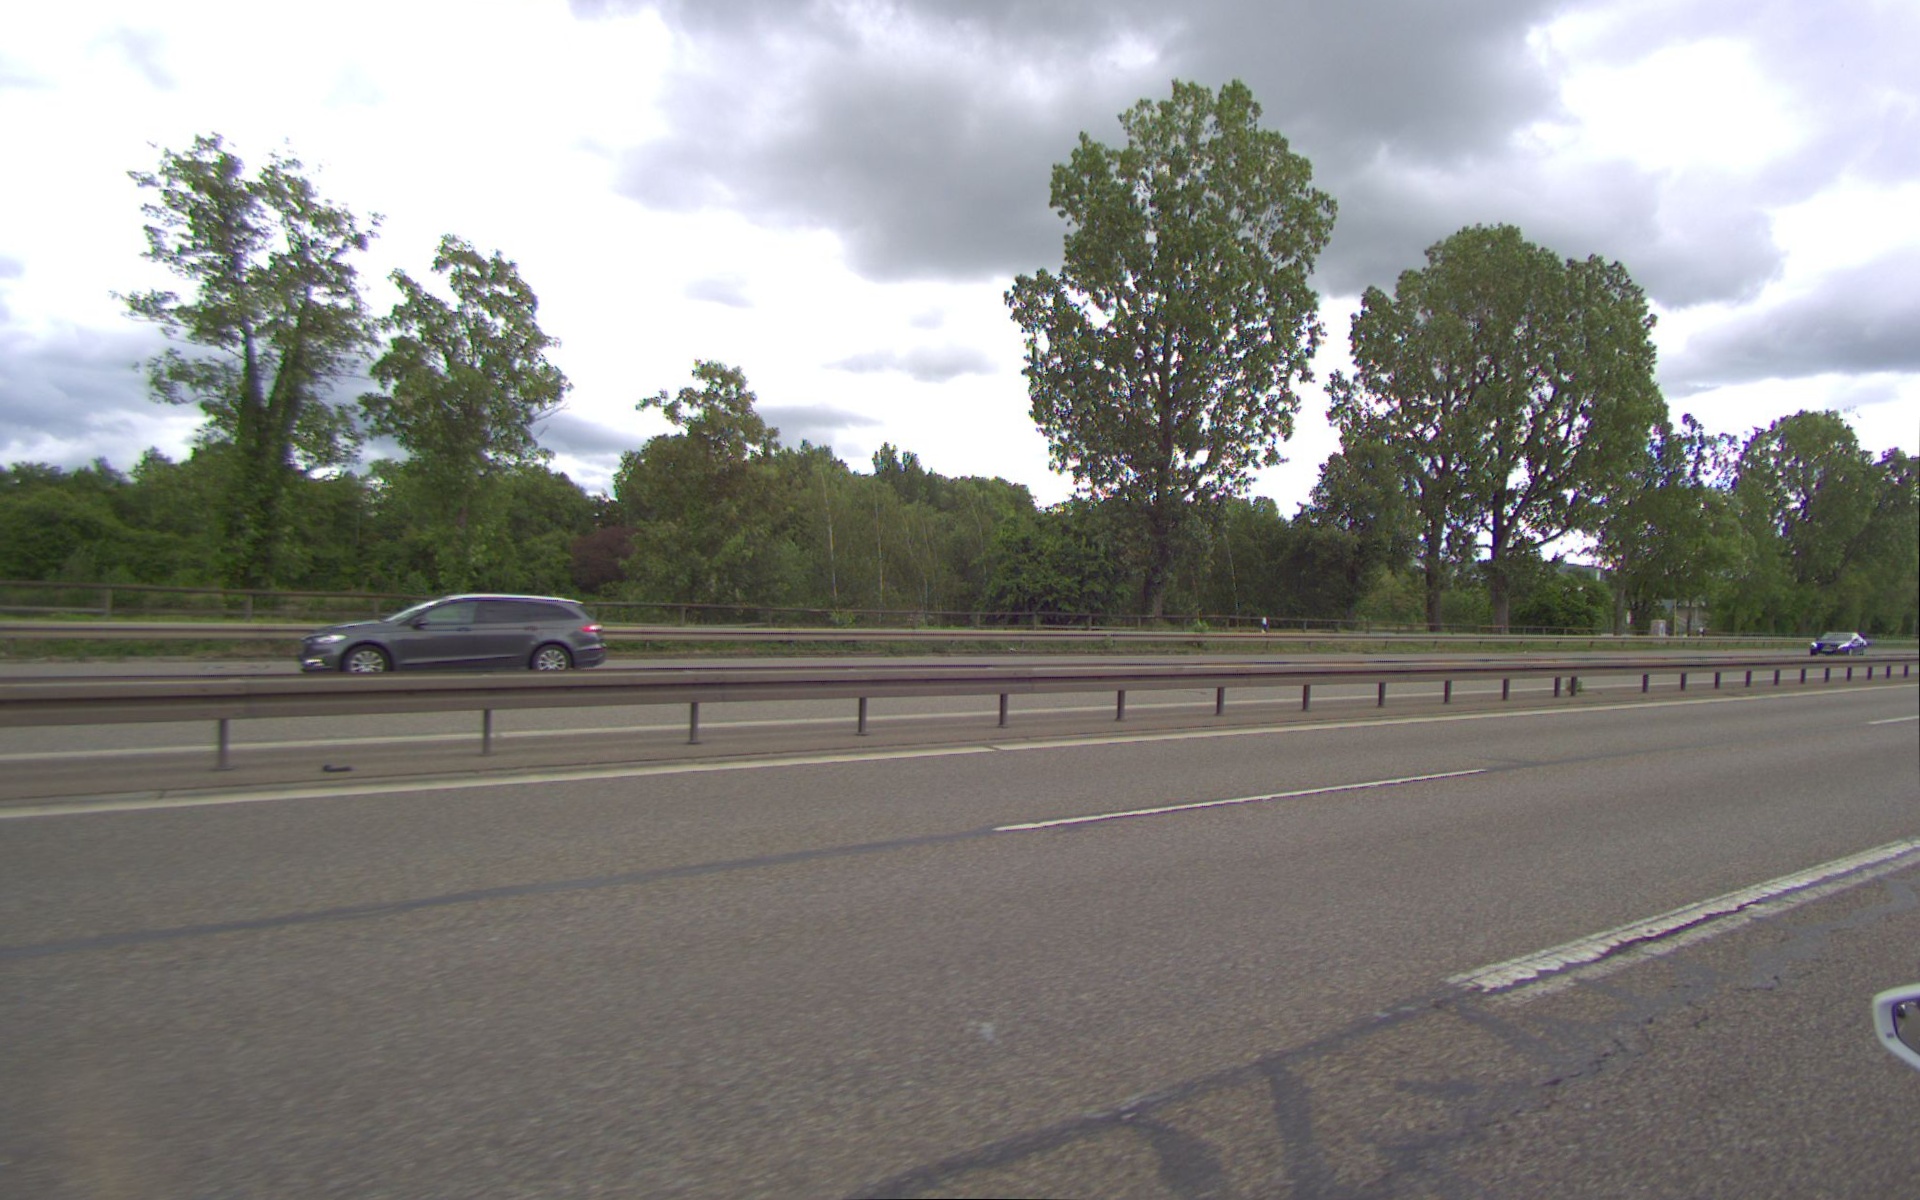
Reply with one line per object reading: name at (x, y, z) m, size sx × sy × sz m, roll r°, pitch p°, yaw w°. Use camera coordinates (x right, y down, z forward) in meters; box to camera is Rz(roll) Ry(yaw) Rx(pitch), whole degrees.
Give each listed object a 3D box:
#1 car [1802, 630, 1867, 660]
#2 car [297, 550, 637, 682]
car at (51.111, 2.615, 58.671) m, size 4.606 × 1.630 × 1.979 m, roll 1°, pitch -1°, yaw -37°
car at (-8.624, 0.268, 17.800) m, size 5.167 × 2.041 × 1.981 m, roll 1°, pitch 2°, yaw -34°
